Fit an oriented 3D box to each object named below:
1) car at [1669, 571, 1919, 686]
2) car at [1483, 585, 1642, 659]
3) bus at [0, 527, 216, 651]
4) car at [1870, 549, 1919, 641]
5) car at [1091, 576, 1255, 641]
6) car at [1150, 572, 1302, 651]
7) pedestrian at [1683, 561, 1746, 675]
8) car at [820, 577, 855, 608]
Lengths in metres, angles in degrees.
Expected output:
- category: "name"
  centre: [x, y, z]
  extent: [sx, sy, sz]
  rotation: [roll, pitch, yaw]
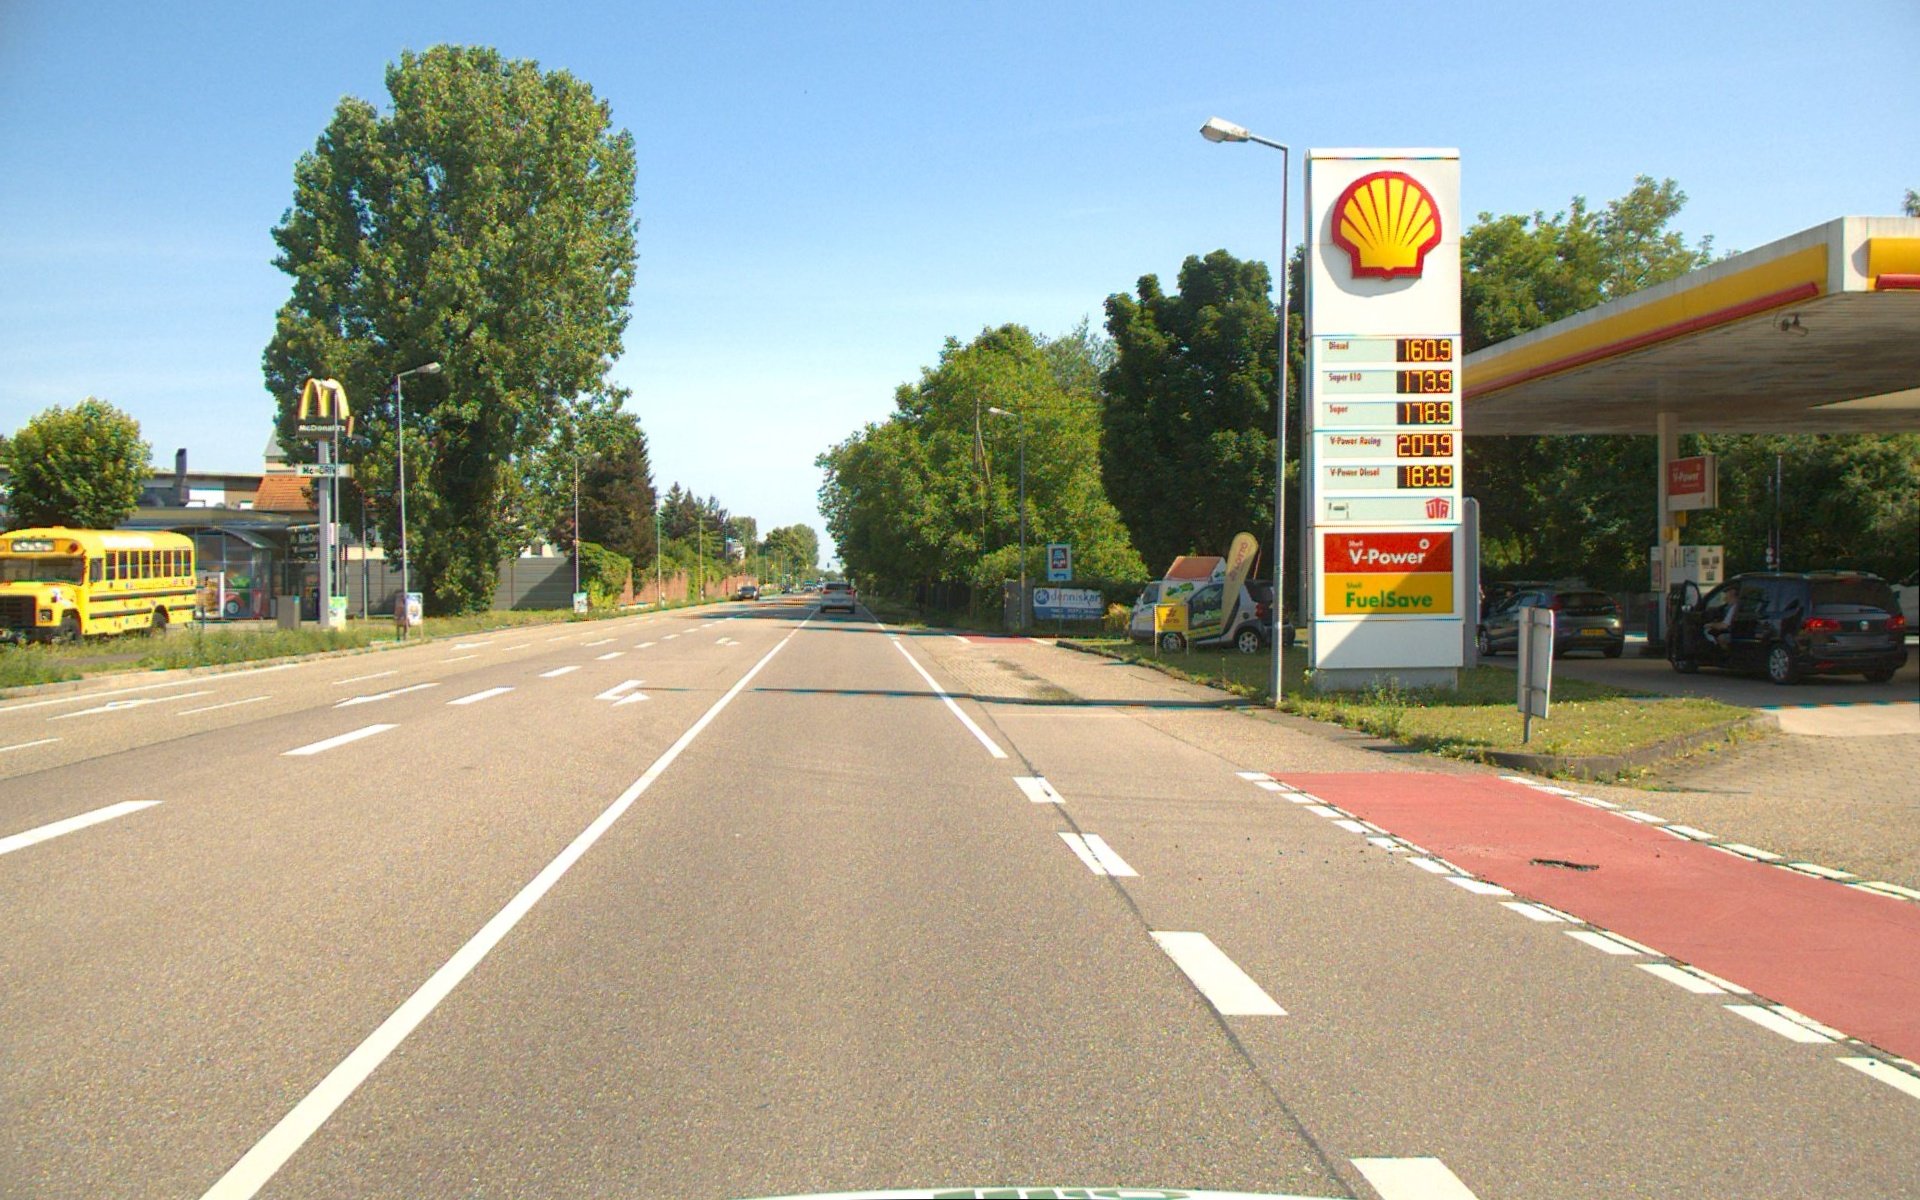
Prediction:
- category: "car"
  centre: [12.711, 0.380, 25.387]
  extent: [1.725, 1.606, 3.873]
  rotation: [-1, 1, -5]
- category: "car"
  centre: [12.102, 0.395, 33.467]
  extent: [1.761, 1.384, 3.847]
  rotation: [-1, 1, -1]
- category: "bus"
  centre: [-21.484, -0.260, 41.299]
  extent: [2.529, 2.726, 8.986]
  rotation: [1, 0, -6]
- category: "car"
  centre: [20.567, -0.104, 33.061]
  extent: [1.815, 1.870, 4.775]
  rotation: [-1, 1, -5]
- category: "car"
  centre: [5.497, 0.219, 42.802]
  extent: [3.916, 1.557, 1.581]
  rotation: [1, 0, -11]
- category: "car"
  centre: [5.441, 0.249, 33.939]
  extent: [2.680, 1.557, 1.569]
  rotation: [0, -1, 40]
- category: "pedestrian"
  centre: [11.796, 0.273, 25.873]
  extent: [0.658, 1.759, 0.812]
  rotation: [-1, 0, 5]
- category: "car"
  centre: [-6.432, -0.389, 87.155]
  extent: [1.810, 1.568, 4.221]
  rotation: [1, 0, -4]
